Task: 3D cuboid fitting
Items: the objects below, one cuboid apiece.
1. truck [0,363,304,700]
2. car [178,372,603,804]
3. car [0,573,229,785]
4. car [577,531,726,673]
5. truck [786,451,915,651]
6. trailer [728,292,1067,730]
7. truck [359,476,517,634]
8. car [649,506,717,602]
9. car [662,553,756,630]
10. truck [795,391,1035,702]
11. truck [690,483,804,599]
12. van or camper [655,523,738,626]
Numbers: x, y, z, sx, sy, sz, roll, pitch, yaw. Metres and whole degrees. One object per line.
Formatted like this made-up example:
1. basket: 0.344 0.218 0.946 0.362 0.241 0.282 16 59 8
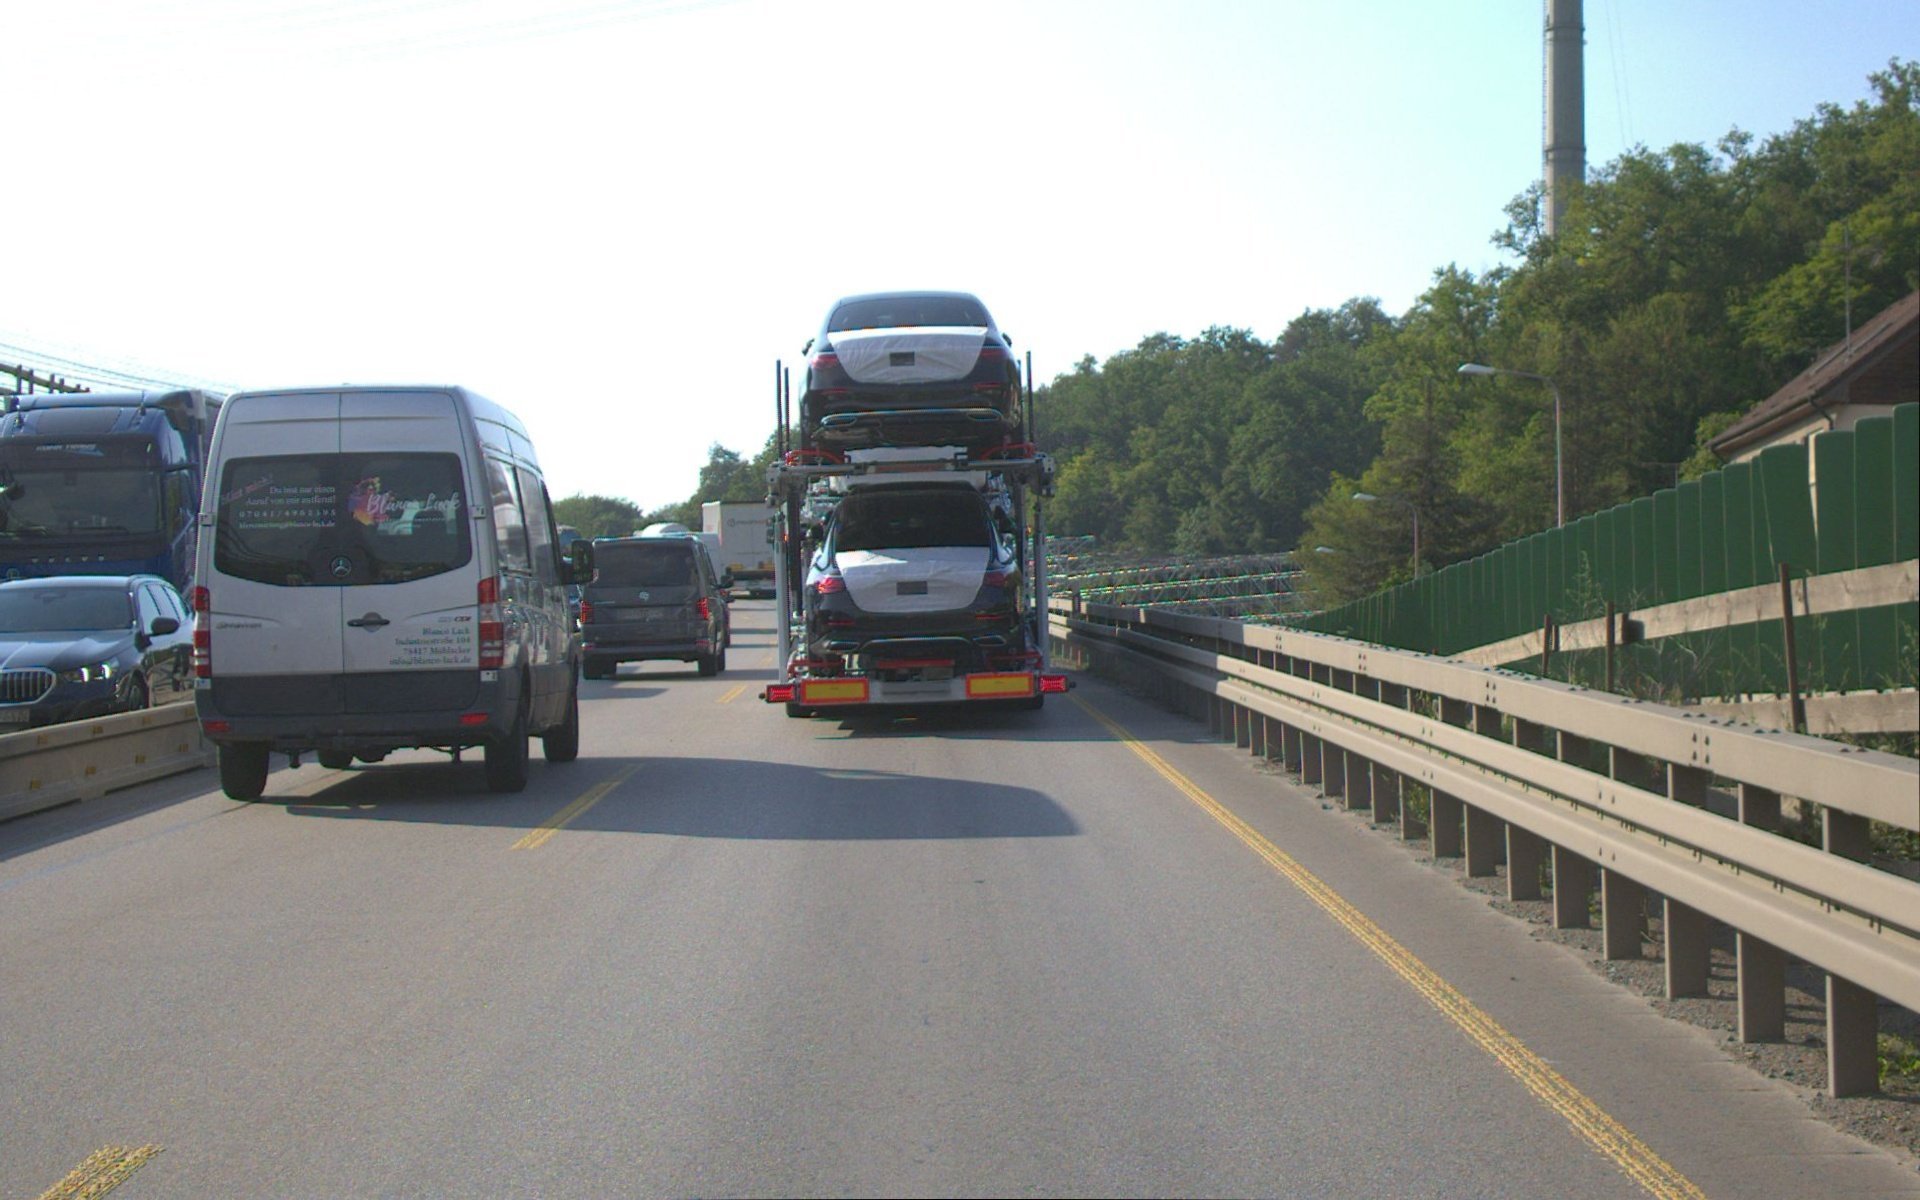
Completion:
1. truck: -11.175 -0.872 47.248 2.624 4.098 9.628 -2 0 -2
2. car: -3.784 -0.092 23.872 1.993 2.639 5.530 0 0 0
3. car: -7.488 0.611 28.596 1.837 1.588 4.869 2 -1 -1
4. car: -4.381 0.065 49.268 1.808 1.897 4.000 2 -1 -1
5. truck: -2.711 -1.144 83.289 2.907 4.591 7.286 1 0 -3
6. trailer: -0.458 -0.671 35.893 2.682 3.523 15.288 2 0 0
7. truck: -15.031 -1.232 100.171 2.982 4.139 15.857 2 0 -3
8. car: -15.161 -2.474 187.951 3.444 5.018 9.654 2 0 -5
9. car: -5.234 -0.189 72.059 1.725 1.517 3.973 2 0 -1
10. truck: -0.518 -0.593 43.469 2.682 3.523 7.193 2 0 0
11. truck: -9.040 -2.420 144.799 4.064 4.663 10.594 1 0 -7
12. van or camper: -6.923 -0.627 90.749 1.968 2.583 5.042 2 -1 -3
